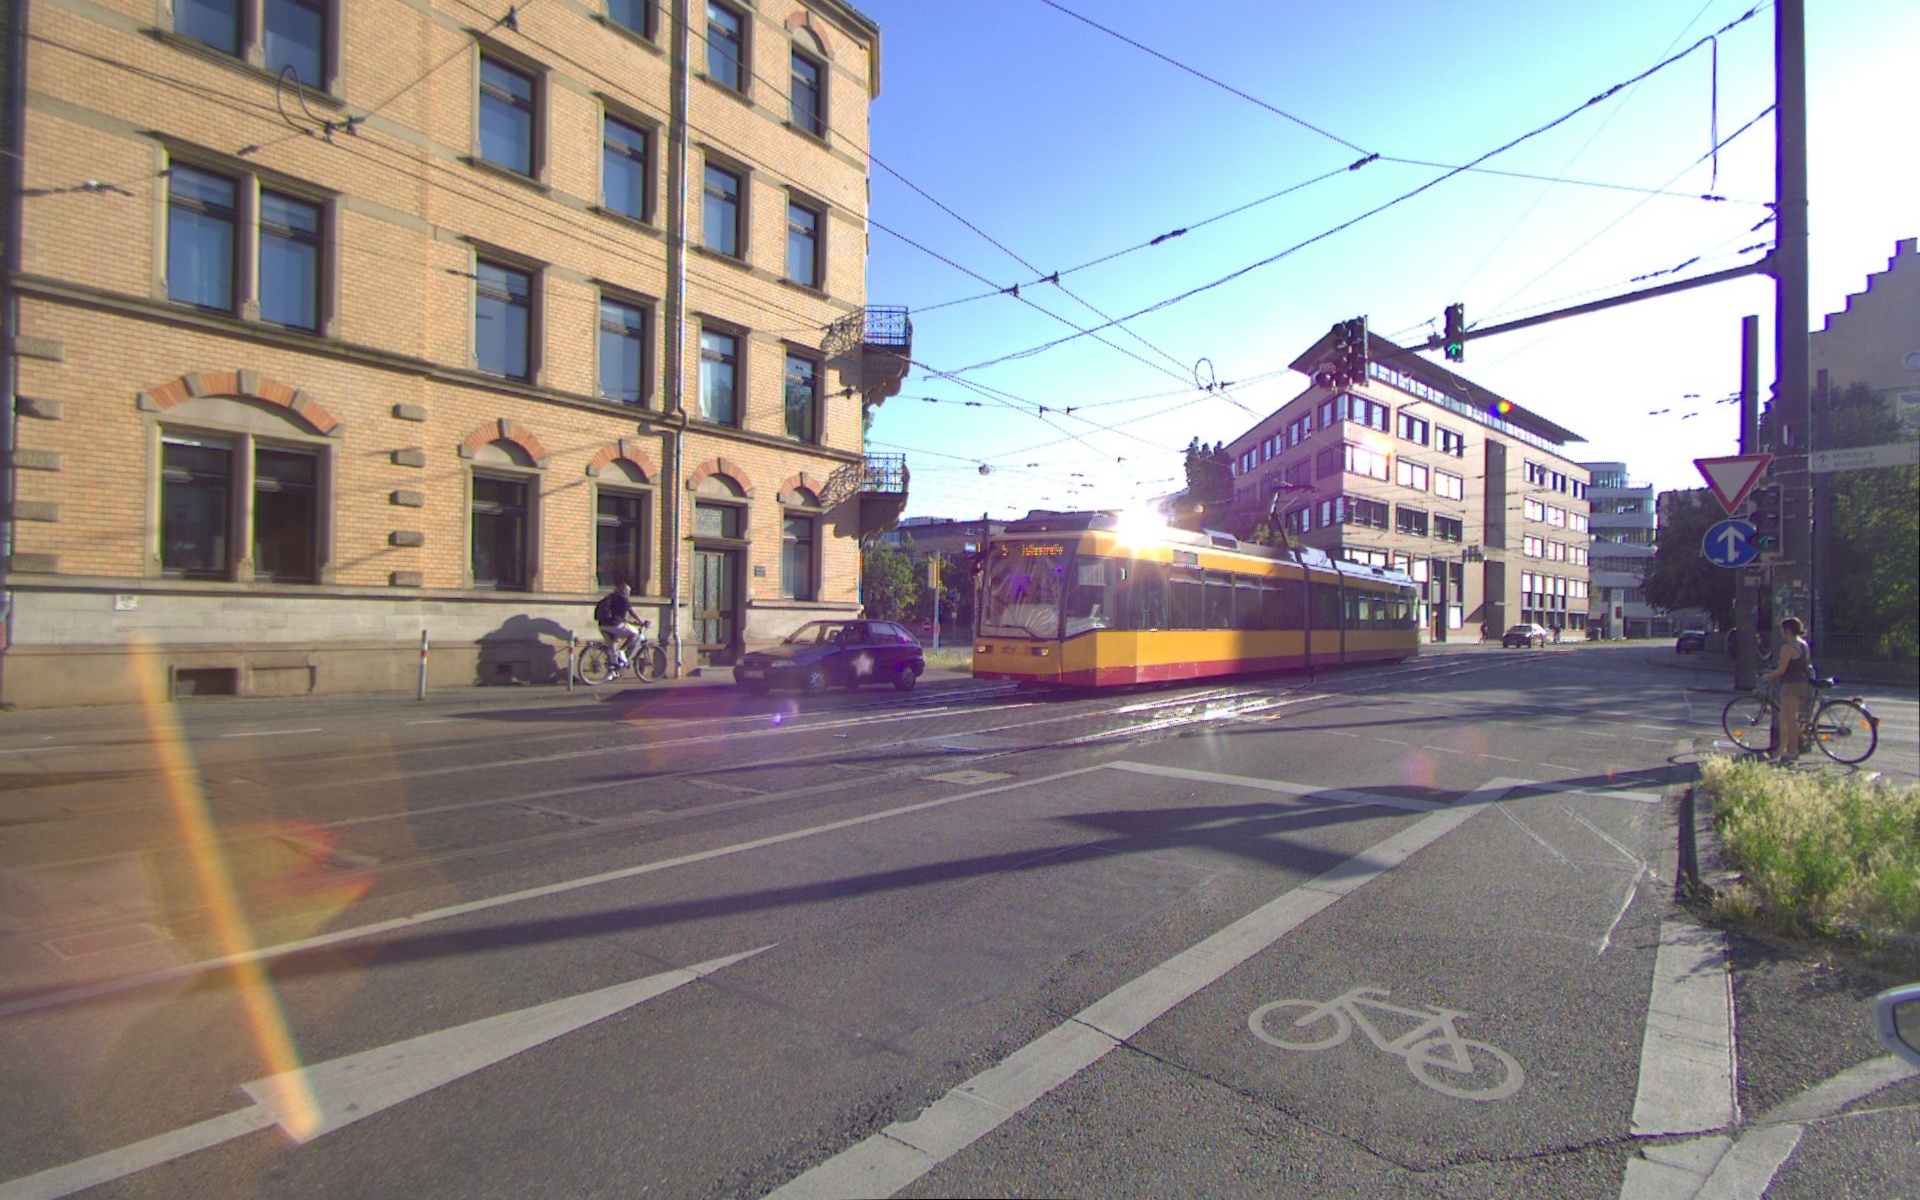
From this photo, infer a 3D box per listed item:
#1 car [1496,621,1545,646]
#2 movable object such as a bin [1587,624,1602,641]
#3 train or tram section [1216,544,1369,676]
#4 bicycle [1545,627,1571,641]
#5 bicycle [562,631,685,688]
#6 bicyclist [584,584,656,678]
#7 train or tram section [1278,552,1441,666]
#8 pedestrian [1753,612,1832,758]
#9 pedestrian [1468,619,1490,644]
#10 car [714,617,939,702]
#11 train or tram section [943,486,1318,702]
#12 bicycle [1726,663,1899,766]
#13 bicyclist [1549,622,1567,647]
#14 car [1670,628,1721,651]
[{"bbox_3d":[39.430,2.360,70.618,4.434,1.636,1.798,2,-2,-43],"label":"car"},{"bbox_3d":[61.709,3.182,97.744,0.883,1.650,1.055,2,-1,-44],"label":"movable object such as a bin"},{"bbox_3d":[10.025,0.328,29.982,2.824,3.554,5.285,0,-1,36],"label":"train or tram section"},{"bbox_3d":[50.059,2.872,84.088,2.804,1.150,1.001,2,0,-40],"label":"bicycle"},{"bbox_3d":[-6.011,1.039,18.037,0.638,0.952,2.079,0,-1,38],"label":"bicycle"},{"bbox_3d":[-6.074,0.548,17.956,0.627,1.634,1.032,0,-1,38],"label":"bicyclist"},{"bbox_3d":[14.919,0.426,36.710,2.823,3.554,11.257,0,-1,36],"label":"train or tram section"},{"bbox_3d":[9.671,0.970,11.679,0.481,1.653,0.524,1,-1,-10],"label":"pedestrian"},{"bbox_3d":[43.129,2.639,83.483,1.543,2.040,1.228,2,-1,-43],"label":"pedestrian"},{"bbox_3d":[-2.372,1.048,18.808,1.786,1.398,4.147,0,-1,37],"label":"car"},{"bbox_3d":[4.648,0.068,22.574,2.823,3.554,12.969,0,-1,36],"label":"train or tram section"},{"bbox_3d":[9.808,1.283,11.636,0.392,1.043,1.669,1,-1,-9],"label":"bicycle"},{"bbox_3d":[50.043,2.877,84.074,1.241,2.040,0.983,1,-1,-40],"label":"bicyclist"},{"bbox_3d":[46.682,2.507,63.739,3.969,1.407,1.769,2,-1,-41],"label":"car"}]
